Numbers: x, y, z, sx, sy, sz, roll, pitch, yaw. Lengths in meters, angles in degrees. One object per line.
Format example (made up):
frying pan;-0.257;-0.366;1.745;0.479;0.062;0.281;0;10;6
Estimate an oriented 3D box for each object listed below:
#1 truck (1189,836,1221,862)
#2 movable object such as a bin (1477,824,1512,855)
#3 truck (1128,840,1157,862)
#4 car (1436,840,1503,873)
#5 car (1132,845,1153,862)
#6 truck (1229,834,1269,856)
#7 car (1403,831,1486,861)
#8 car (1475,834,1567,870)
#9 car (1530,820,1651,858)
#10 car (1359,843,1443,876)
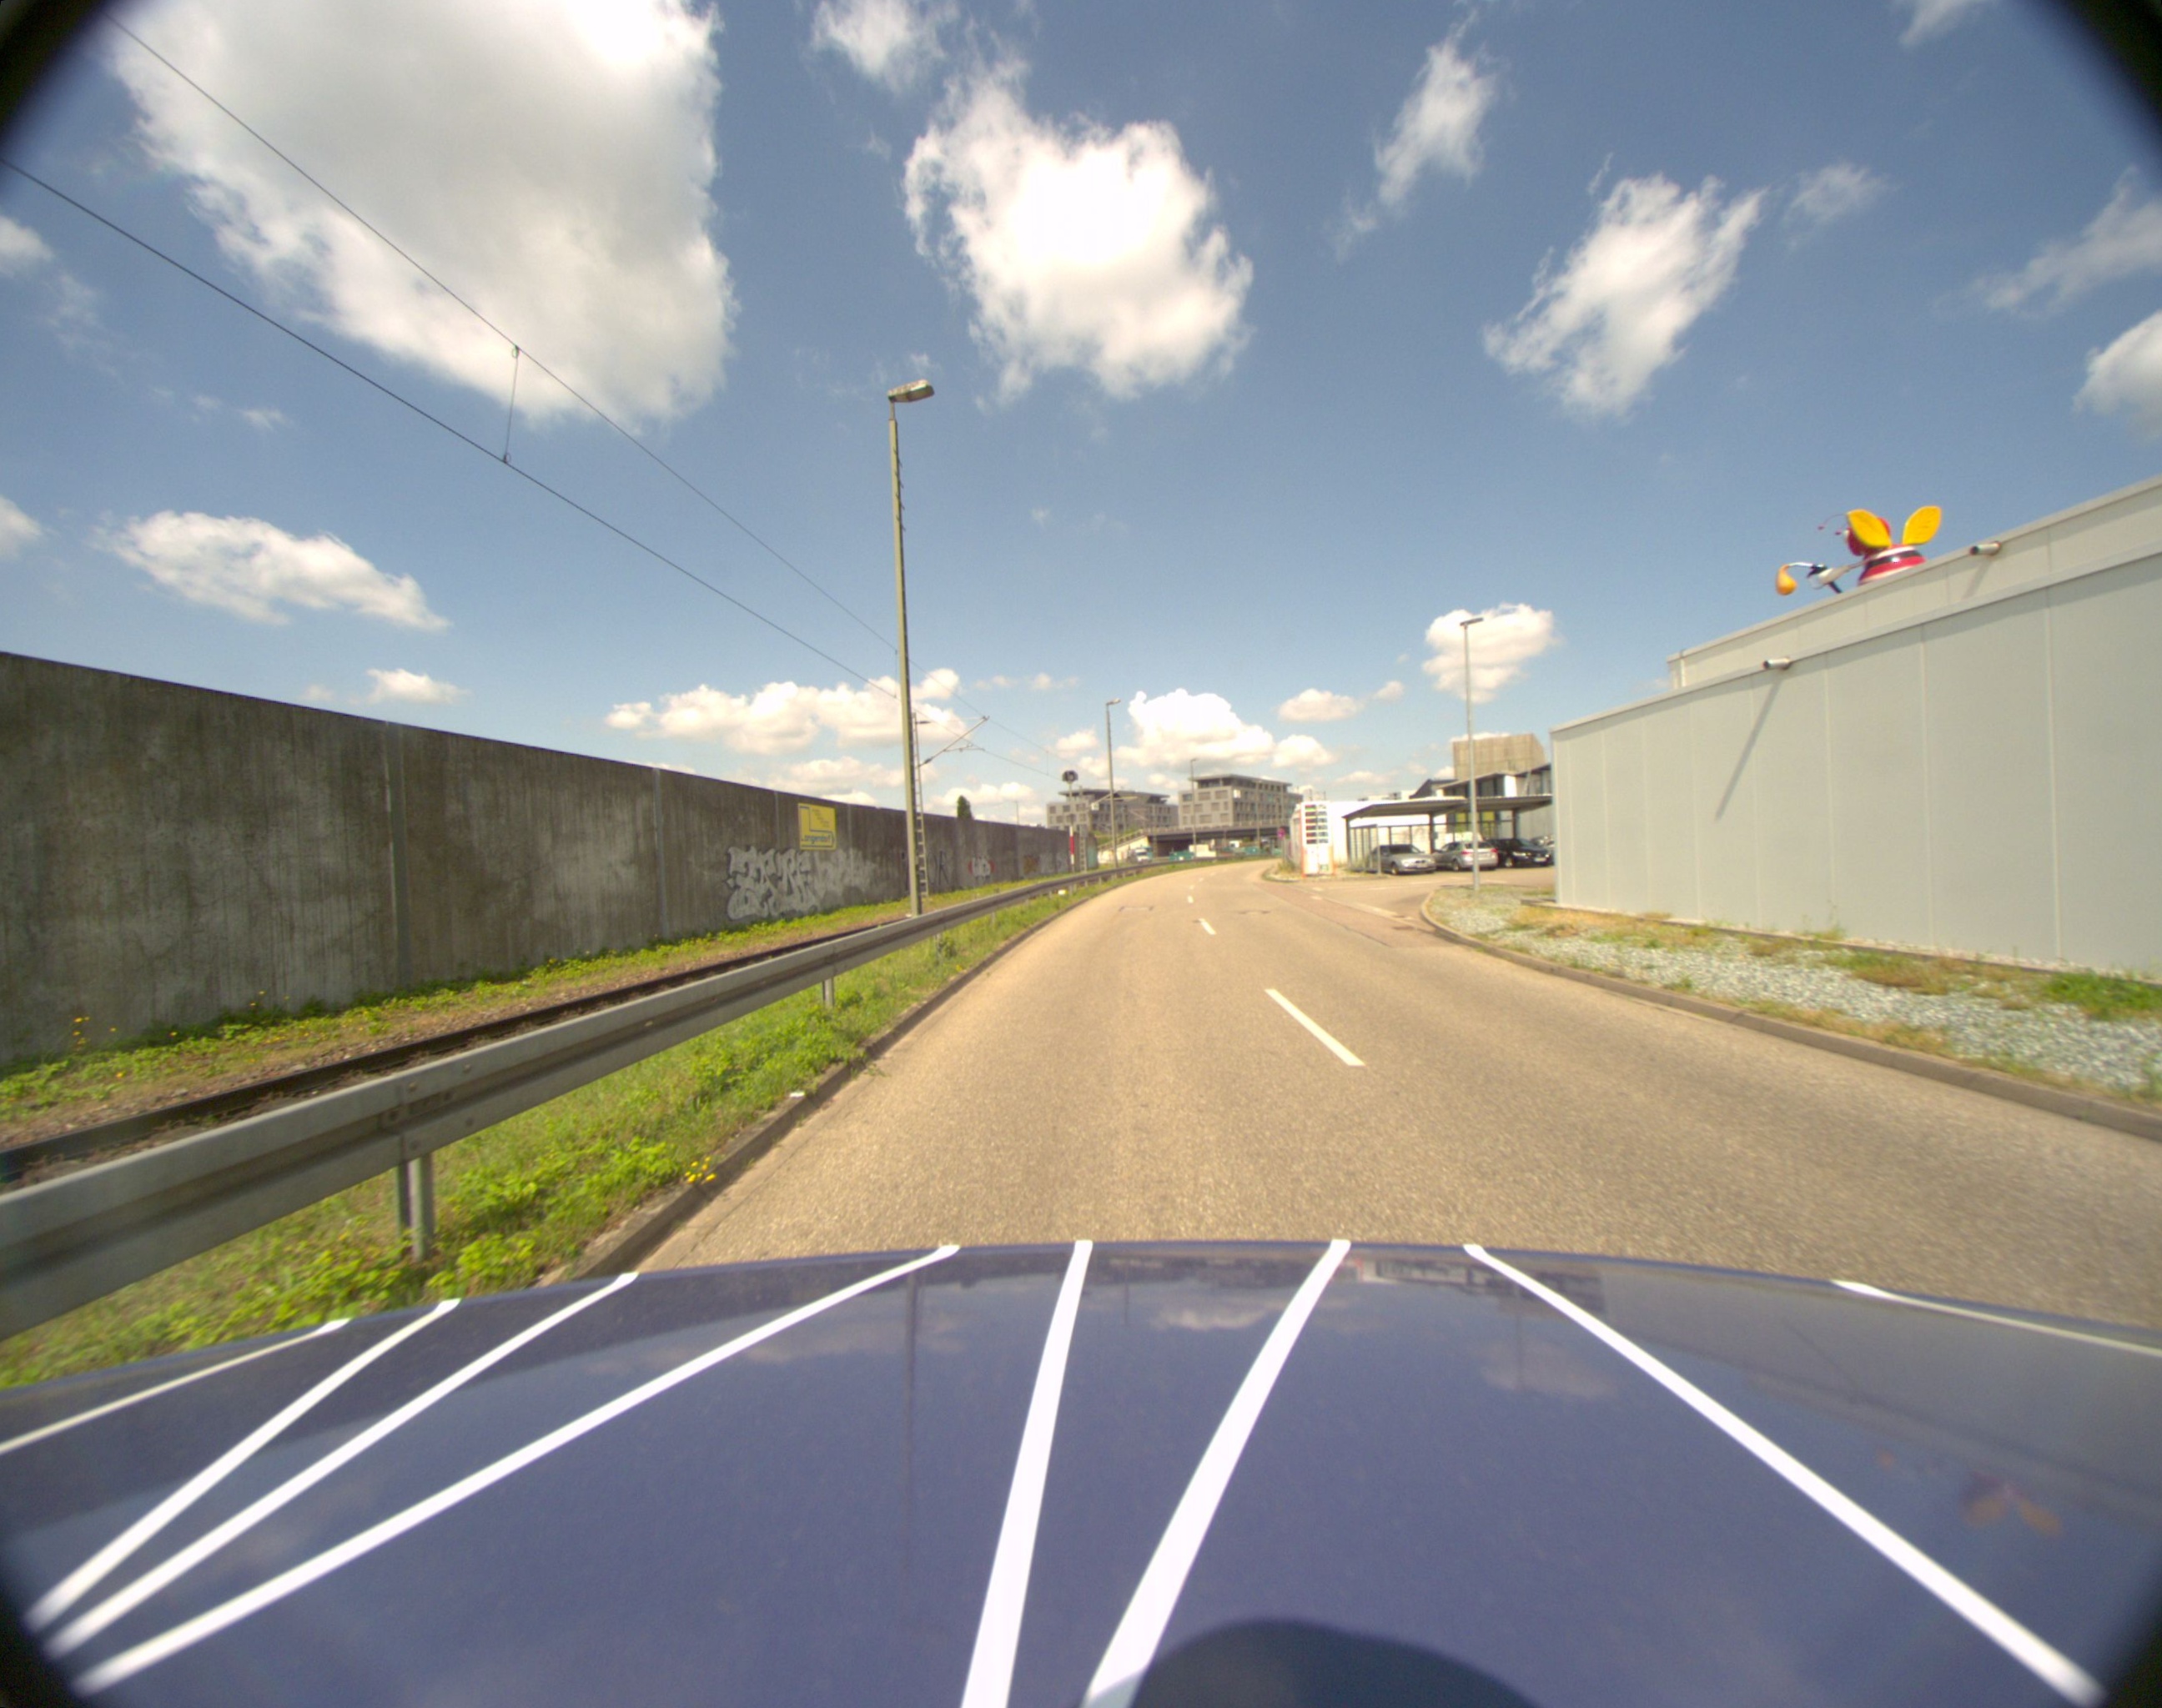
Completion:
truck;16.806;-0.704;103.403;2.993;3.400;8.113;-2;1;1
movable object such as a bin;29.699;-1.047;54.546;1.633;2.092;2.380;-4;-1;42
truck;10.574;-0.503;131.709;2.657;3.625;6.879;-5;1;-15
car;17.801;0.085;34.953;1.597;1.337;3.056;-3;1;3
car;9.693;-0.054;120.409;2.066;2.512;5.878;-4;1;-6
truck;25.675;-1.390;116.159;5.499;3.080;2.004;-2;1;34
car;23.534;-0.497;49.257;4.403;1.822;2.004;-1;1;43
car;20.597;-0.093;35.771;1.998;1.488;4.252;-3;0;3
car;30.209;-0.875;45.196;5.694;2.002;2.000;-2;1;5
car;15.101;0.217;36.152;1.922;1.369;4.790;-3;1;0
